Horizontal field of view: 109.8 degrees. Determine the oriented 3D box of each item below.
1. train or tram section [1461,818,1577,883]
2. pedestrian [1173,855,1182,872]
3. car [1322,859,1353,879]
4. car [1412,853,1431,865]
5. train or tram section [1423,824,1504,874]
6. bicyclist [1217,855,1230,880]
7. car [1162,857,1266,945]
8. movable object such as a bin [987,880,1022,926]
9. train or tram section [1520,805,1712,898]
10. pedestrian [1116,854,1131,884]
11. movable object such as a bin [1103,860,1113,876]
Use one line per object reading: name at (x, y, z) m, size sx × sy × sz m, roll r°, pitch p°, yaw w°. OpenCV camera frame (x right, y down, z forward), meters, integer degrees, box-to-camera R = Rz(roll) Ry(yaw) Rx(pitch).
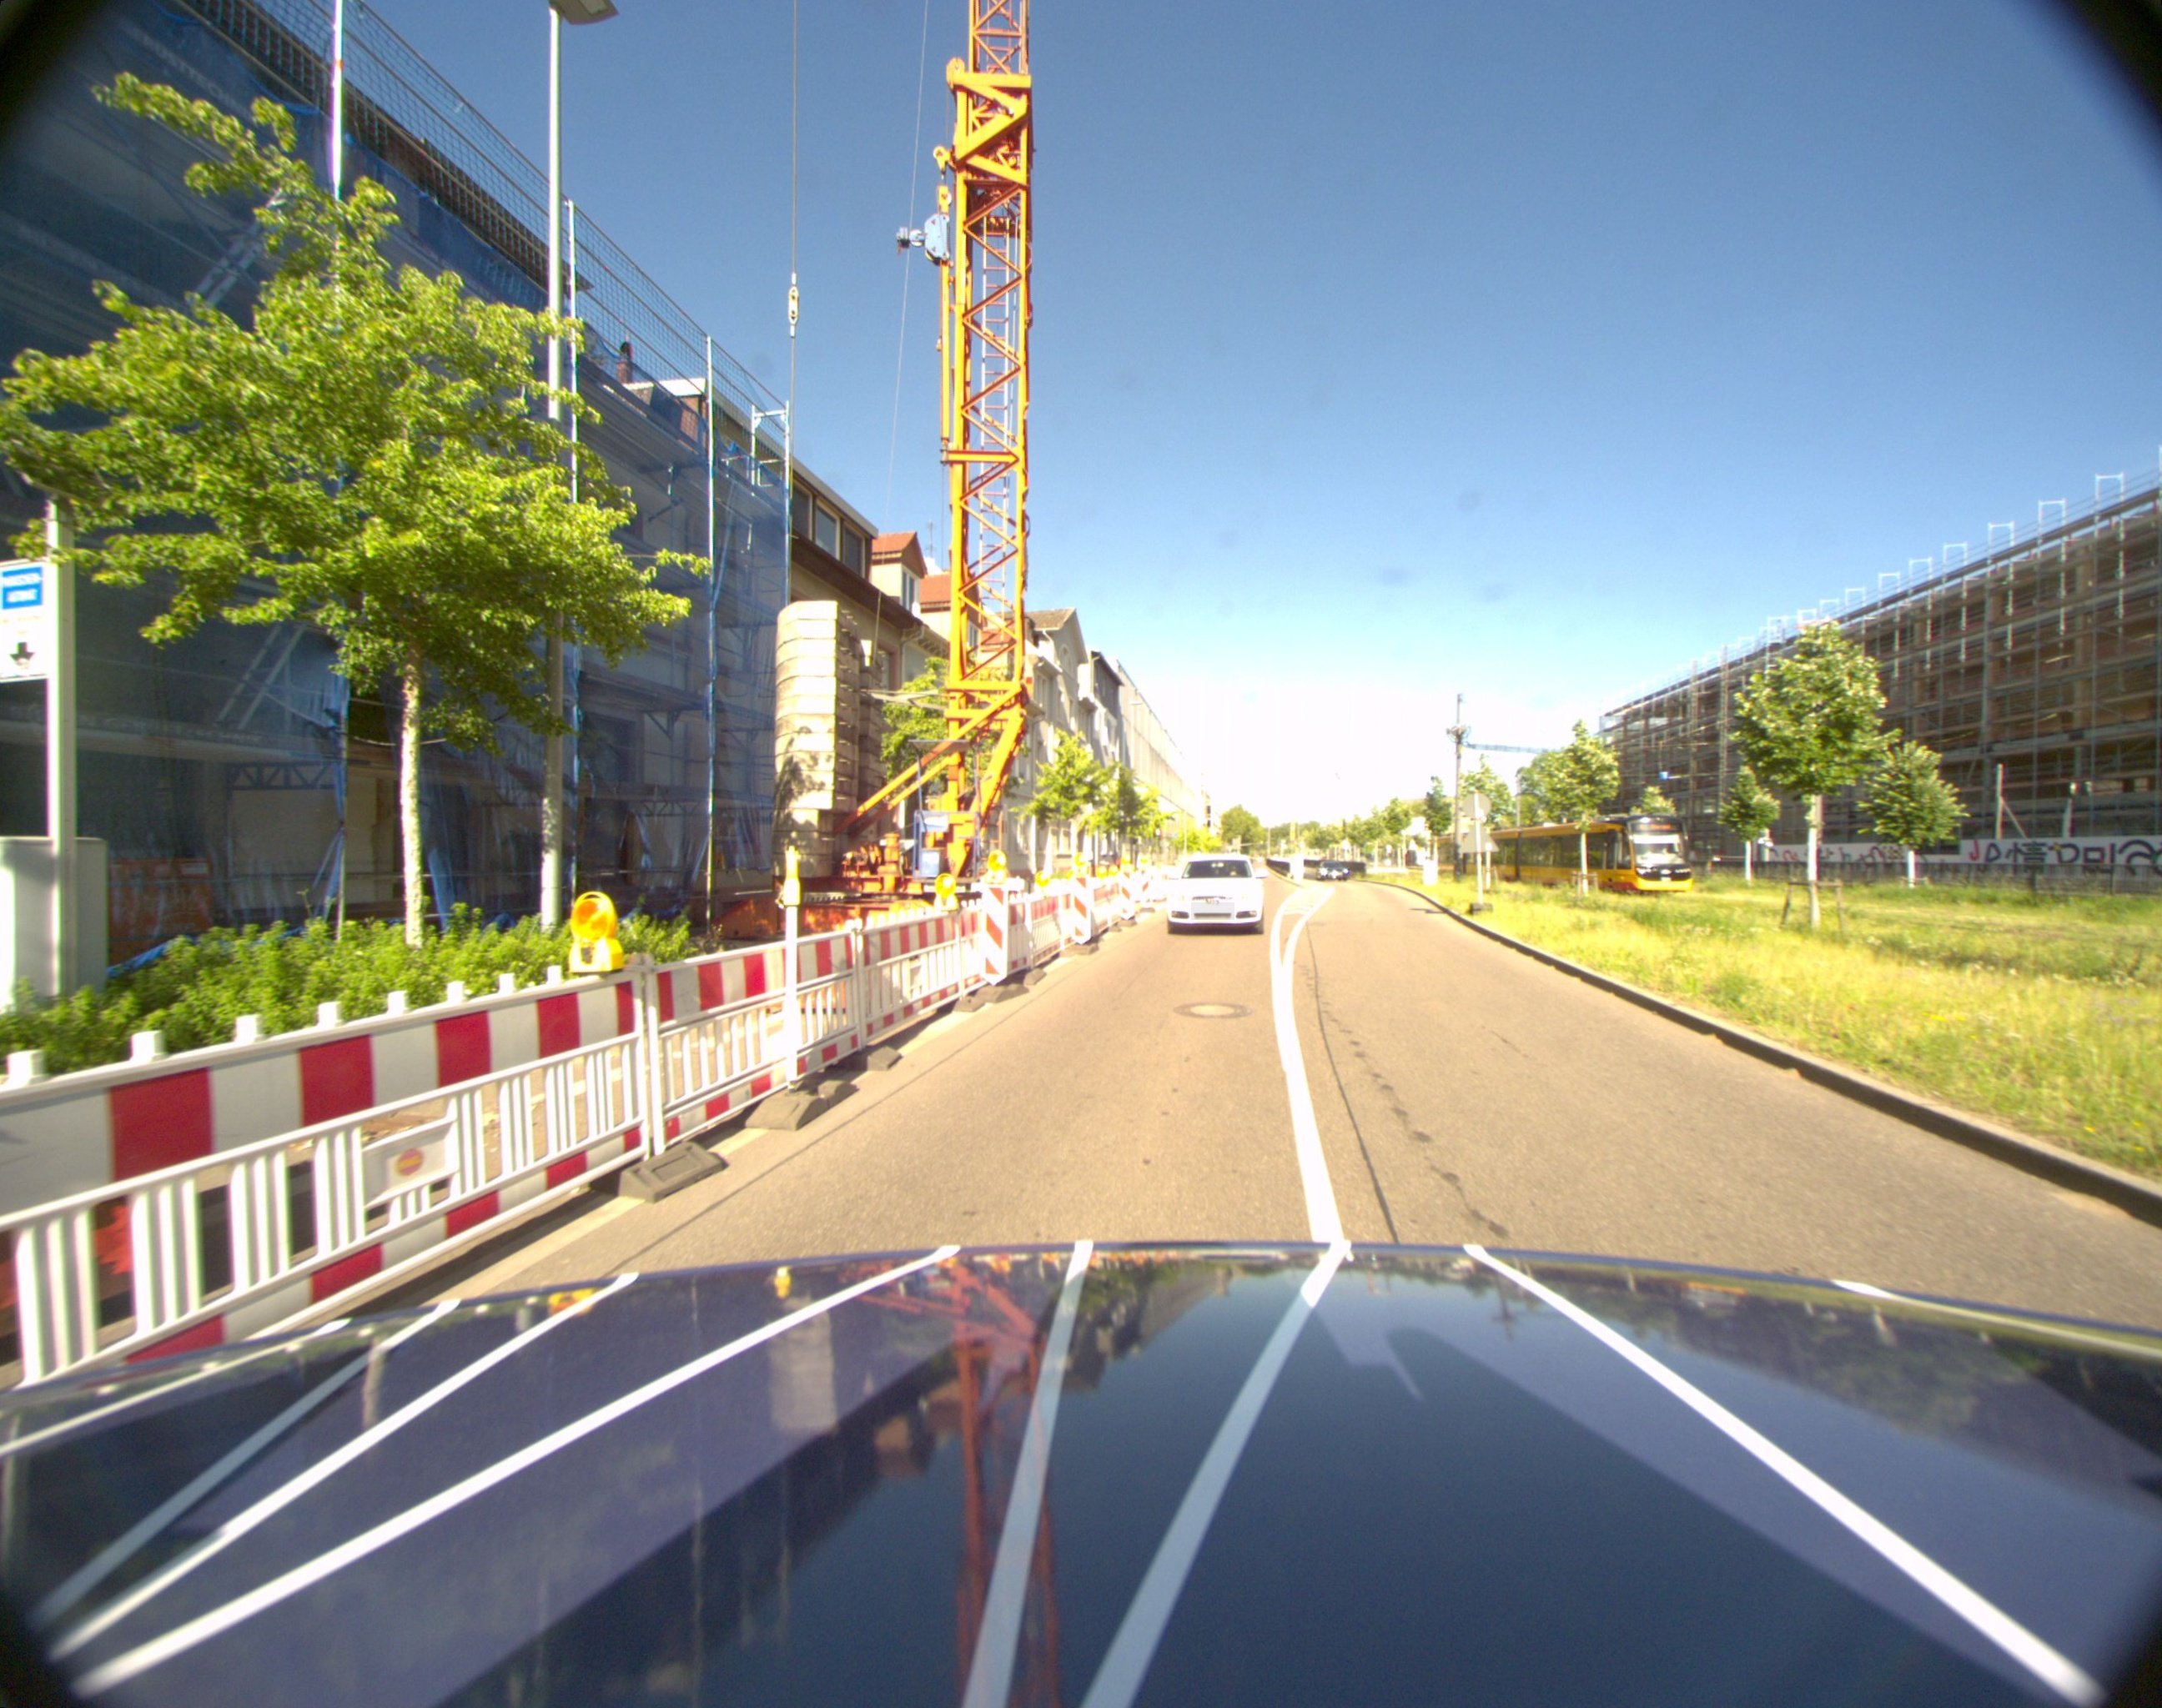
train or tram section at (27.478, -0.259, 48.540) m, size 2.819 × 3.617 × 12.801 m, roll 1°, pitch 1°, yaw 13°
pedestrian at (11.422, 1.140, 89.569) m, size 0.876 × 1.914 × 0.896 m, roll 3°, pitch 3°, yaw 12°
car at (19.330, 1.095, 57.463) m, size 1.925 × 1.435 × 4.182 m, roll 1°, pitch 0°, yaw 15°
car at (62.951, 0.931, 140.347) m, size 2.335 × 2.146 × 4.401 m, roll 0°, pitch 0°, yaw 12°
train or tram section at (30.374, -0.394, 61.065) m, size 2.819 × 3.617 × 12.801 m, roll 1°, pitch 1°, yaw 13°
bicyclist at (8.617, 0.808, 45.973) m, size 0.755 × 1.454 × 0.587 m, roll -1°, pitch 1°, yaw 8°
car at (2.954, 0.911, 16.383) m, size 1.932 × 1.624 × 4.004 m, roll -1°, pitch 0°, yaw 13°
movable object such as a bin at (-1.871, 1.193, 18.626) m, size 0.596 × 1.052 × 0.731 m, roll 4°, pitch 1°, yaw 14°
train or tram section at (24.534, -0.138, 36.038) m, size 2.819 × 3.617 × 12.801 m, roll 1°, pitch 1°, yaw 13°
pedestrian at (2.671, 0.935, 47.747) m, size 0.796 × 1.917 × 0.769 m, roll -1°, pitch 0°, yaw -9°
movable object such as a bin at (1.886, 0.985, 52.567) m, size 0.589 × 1.101 × 0.704 m, roll 0°, pitch 0°, yaw 14°
